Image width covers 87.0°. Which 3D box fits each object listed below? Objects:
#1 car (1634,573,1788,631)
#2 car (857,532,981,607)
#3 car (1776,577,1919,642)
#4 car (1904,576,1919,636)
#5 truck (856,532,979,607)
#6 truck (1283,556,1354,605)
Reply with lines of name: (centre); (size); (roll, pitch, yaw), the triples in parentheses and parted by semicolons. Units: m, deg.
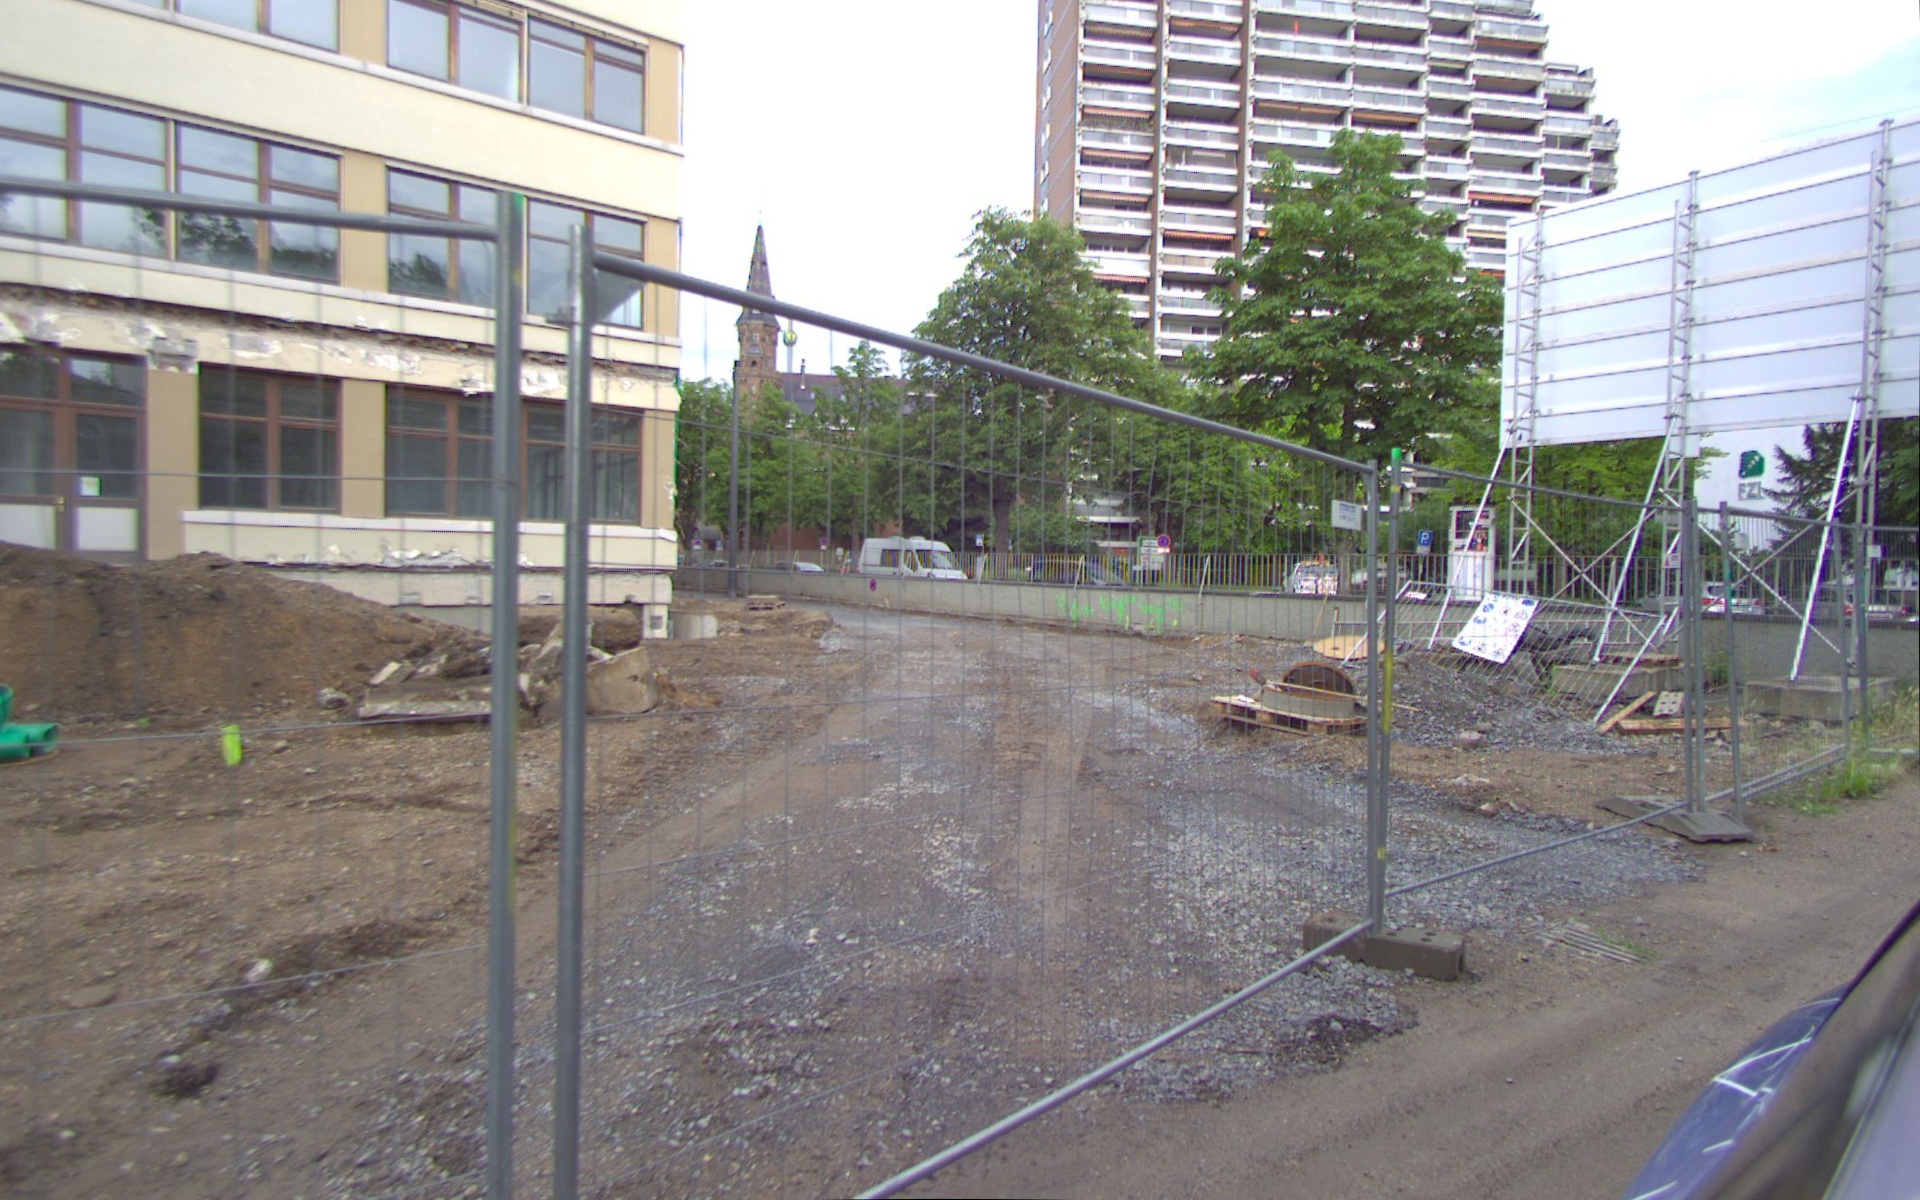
car: (22.618, 0.005, 30.716); (1.773, 1.482, 4.425); (1, 3, 8)
car: (-1.666, -1.220, 38.340); (2.079, 2.634, 5.494); (-1, 3, -34)
car: (24.304, 0.205, 27.628); (1.548, 1.542, 3.642); (1, 3, 11)
car: (25.848, 0.244, 25.176); (1.673, 1.542, 3.696); (1, 3, 11)
truck: (-1.702, -1.222, 38.393); (2.079, 2.634, 5.494); (-1, 3, -34)
truck: (14.842, -0.863, 42.198); (1.968, 1.871, 5.051); (1, 3, 10)
